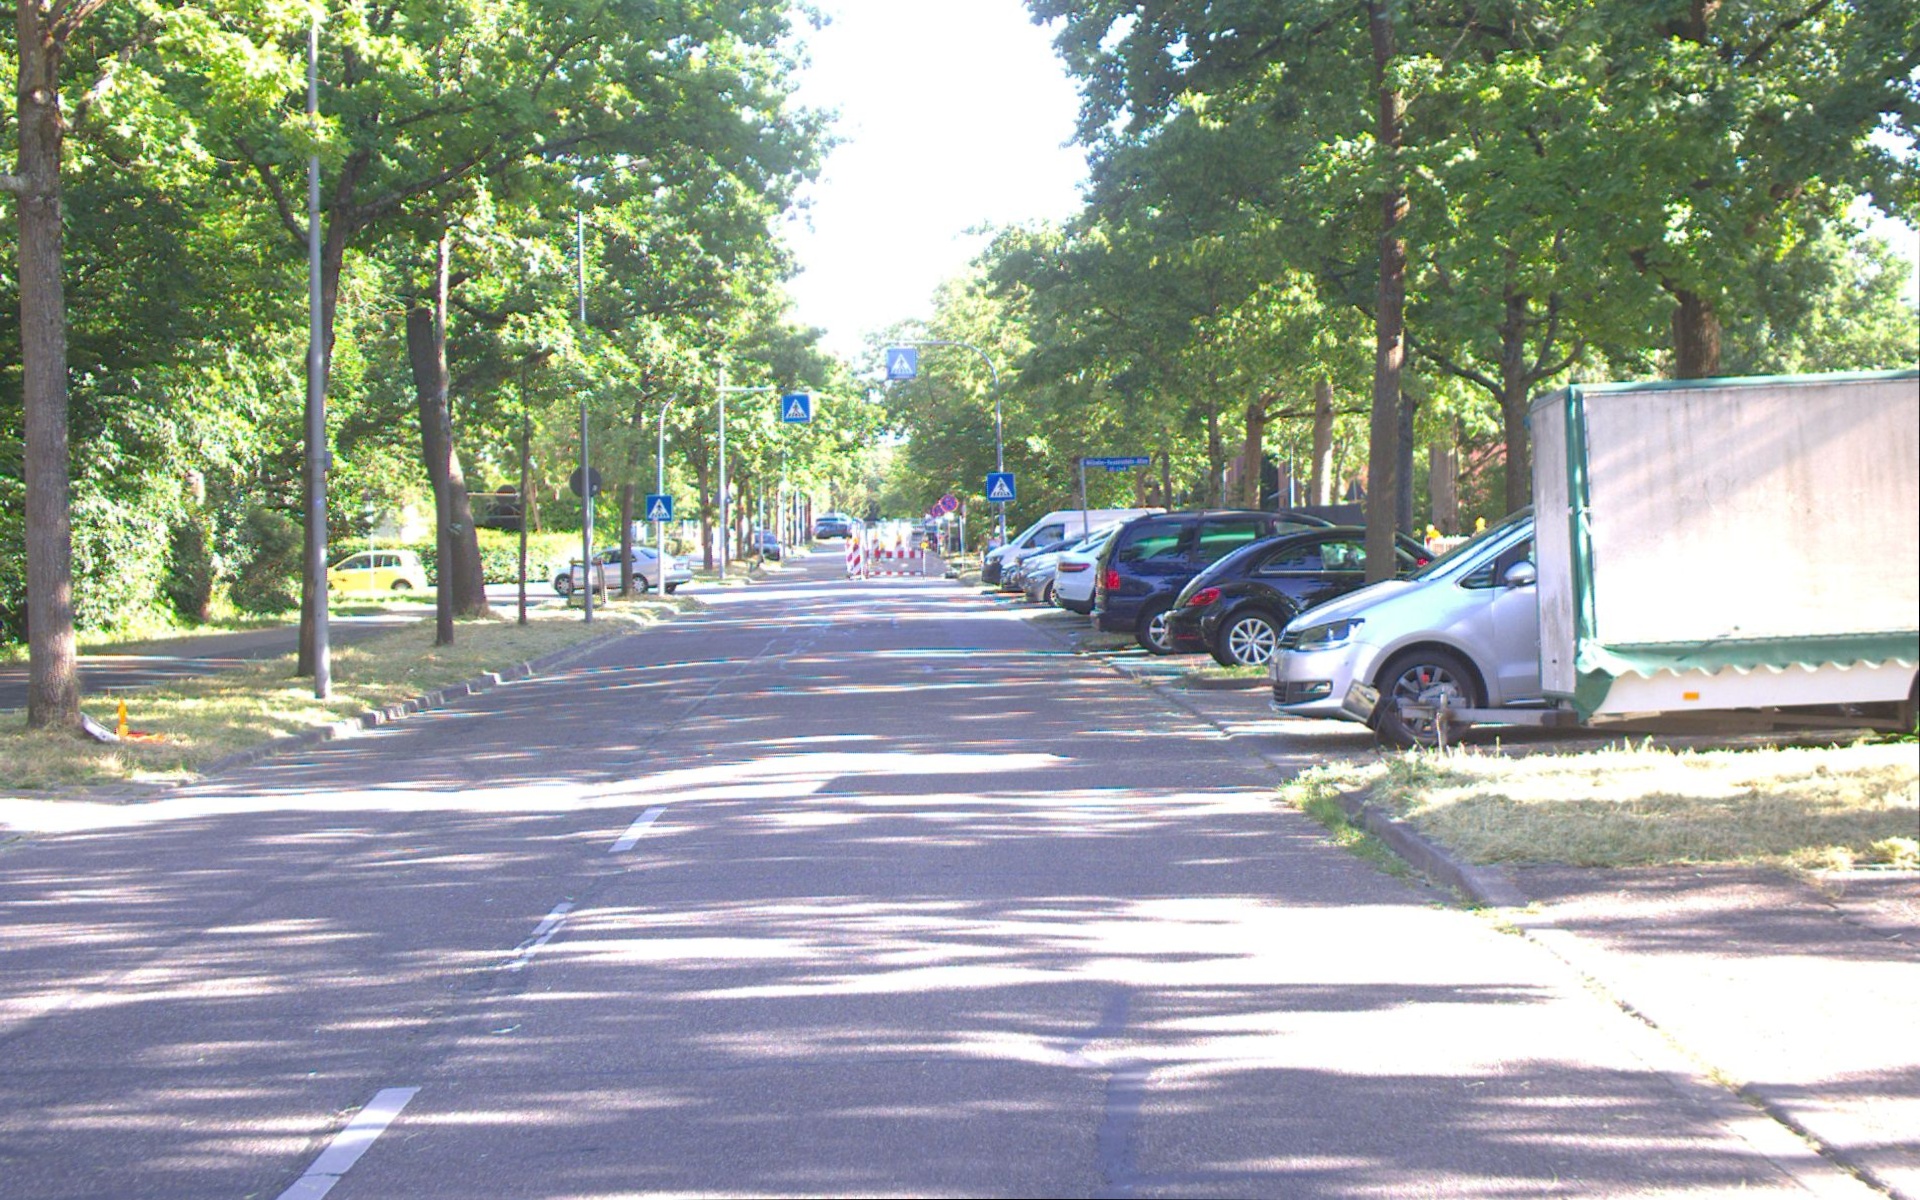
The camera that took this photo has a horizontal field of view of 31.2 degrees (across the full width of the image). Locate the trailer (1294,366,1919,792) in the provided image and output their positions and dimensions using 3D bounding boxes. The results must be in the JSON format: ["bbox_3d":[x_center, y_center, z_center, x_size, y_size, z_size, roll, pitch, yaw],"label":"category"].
[{"bbox_3d":[5.032,-0.194,20.835,5.775,2.309,1.686,-3,1,1],"label":"trailer"}]

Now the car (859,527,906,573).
[{"bbox_3d":[-3.313,-2.143,146.386,1.993,1.926,4.000,0,1,-2],"label":"car"}]

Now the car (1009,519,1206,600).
[{"bbox_3d":[3.423,-0.954,80.209,4.384,1.645,1.851,-3,1,-2],"label":"car"}]

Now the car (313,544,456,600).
[{"bbox_3d":[-17.738,-0.866,106.043,3.987,1.650,2.000,-1,1,4],"label":"car"}]

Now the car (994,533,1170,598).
[{"bbox_3d":[2.998,-0.862,85.093,4.212,1.563,1.934,-1,1,-2],"label":"car"}]

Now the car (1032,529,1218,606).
[{"bbox_3d":[3.601,-0.727,75.546,3.884,1.492,1.777,-3,1,-1],"label":"car"}]

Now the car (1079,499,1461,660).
[{"bbox_3d":[3.833,-0.273,43.123,4.530,1.795,1.936,-2,1,-1],"label":"car"}]

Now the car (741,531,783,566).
[{"bbox_3d":[-9.982,-2.593,173.310,1.993,1.711,4.000,0,1,-2],"label":"car"}]

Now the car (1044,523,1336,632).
[{"bbox_3d":[3.799,-0.389,57.403,4.670,1.575,1.917,-3,1,0],"label":"car"}]

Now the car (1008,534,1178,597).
[{"bbox_3d":[3.174,-0.840,82.635,3.987,1.428,1.901,-1,1,1],"label":"car"}]

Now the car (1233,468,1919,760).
[{"bbox_3d":[4.314,0.066,23.597,4.642,1.716,1.988,-3,1,0],"label":"car"}]

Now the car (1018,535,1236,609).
[{"bbox_3d":[3.499,-0.605,72.608,4.445,1.385,1.911,-2,1,-1],"label":"car"}]

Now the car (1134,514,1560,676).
[{"bbox_3d":[4.048,-0.068,36.544,4.245,1.513,2.078,-2,1,0],"label":"car"}]

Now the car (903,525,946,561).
[{"bbox_3d":[-1.742,-2.773,167.227,1.993,1.711,4.000,0,1,-2],"label":"car"}]

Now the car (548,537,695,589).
[{"bbox_3d":[-10.214,-1.119,103.879,3.988,1.479,1.999,-1,1,10],"label":"car"}]

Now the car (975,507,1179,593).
[{"bbox_3d":[3.057,-1.318,90.513,5.186,2.098,2.083,-2,1,-2],"label":"car"}]
